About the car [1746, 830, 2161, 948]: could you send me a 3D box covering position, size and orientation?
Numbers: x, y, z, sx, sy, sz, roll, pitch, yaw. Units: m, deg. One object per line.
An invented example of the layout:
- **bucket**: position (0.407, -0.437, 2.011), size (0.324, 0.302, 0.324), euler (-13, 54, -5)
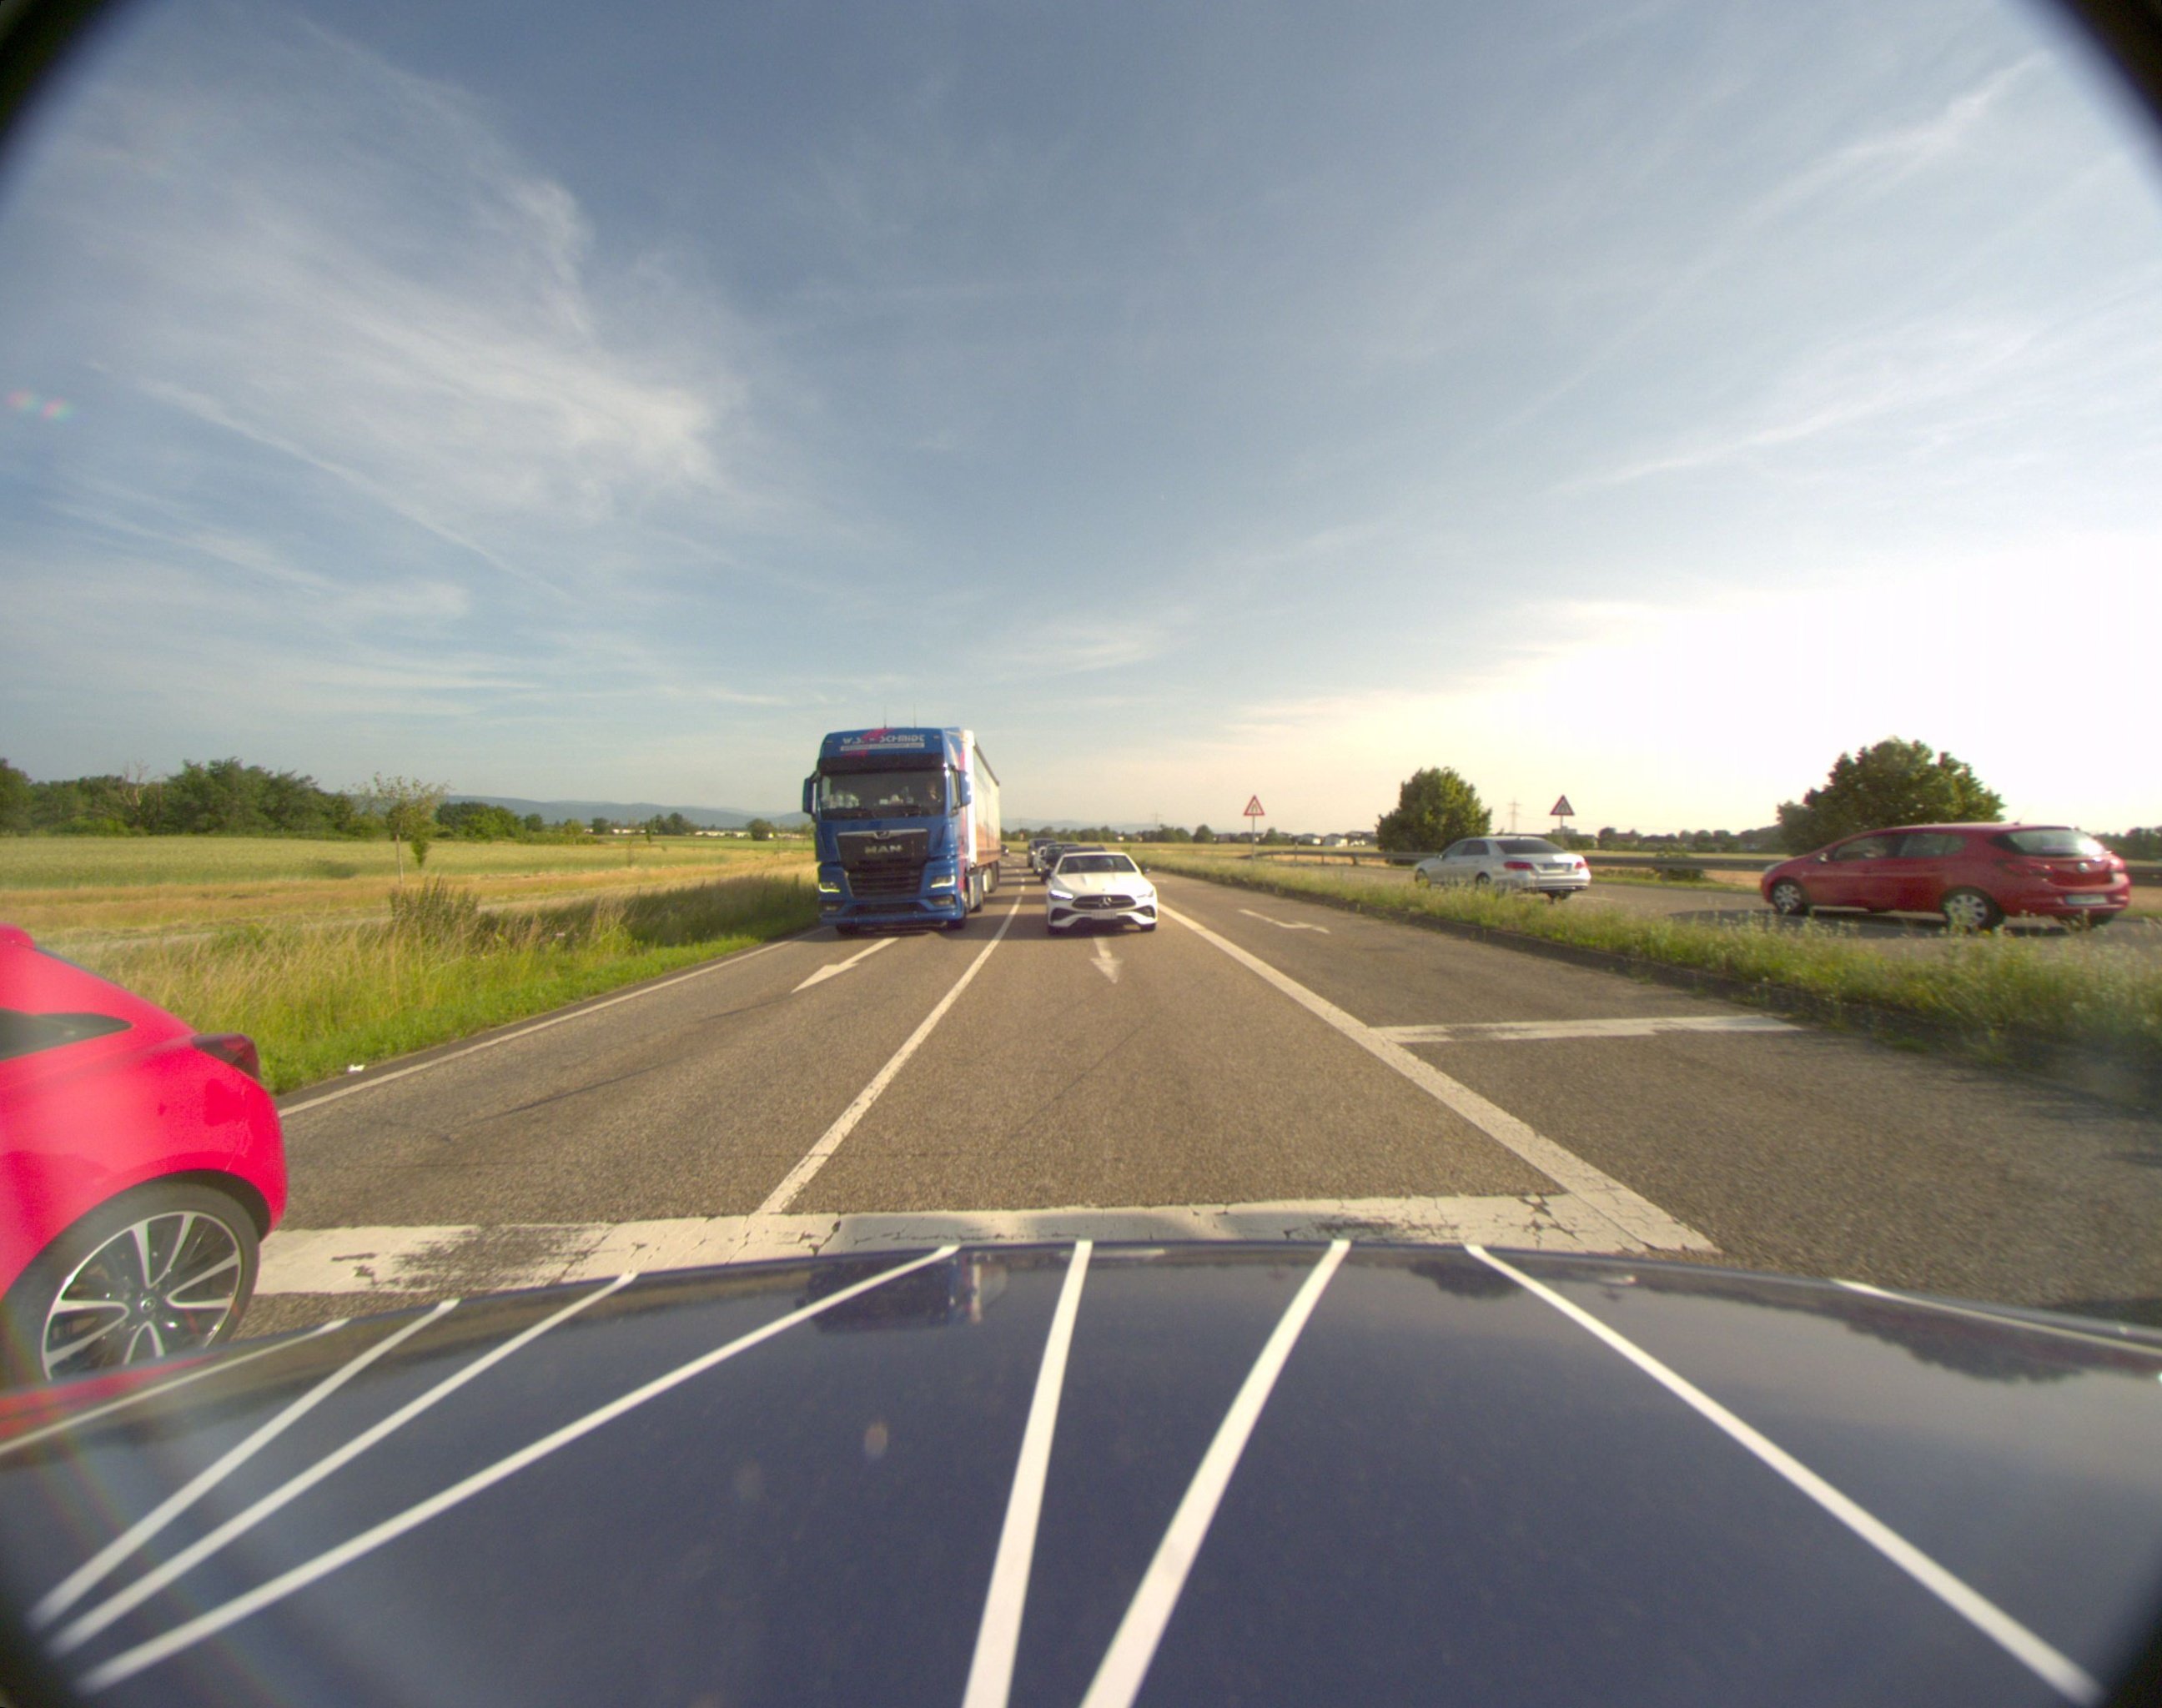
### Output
- **car**: position (12.738, 0.394, 11.562), size (1.664, 1.459, 4.021), euler (-1, 1, -1)

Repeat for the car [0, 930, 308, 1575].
- **car**: position (-3.378, 1.037, 0.531), size (1.666, 1.456, 3.953), euler (-1, 1, -2)

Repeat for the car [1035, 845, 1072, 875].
- **car**: position (-1.415, 0.255, 38.348), size (1.695, 1.406, 3.997), euler (-1, 1, -4)

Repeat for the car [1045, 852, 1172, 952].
- **car**: position (0.325, 0.703, 13.392), size (1.876, 1.390, 4.202), euler (-1, 1, -2)

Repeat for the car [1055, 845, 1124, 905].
- **car**: position (0.156, 0.531, 21.868), size (1.752, 1.521, 3.998), euler (-1, 1, -3)

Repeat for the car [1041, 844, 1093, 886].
- **car**: position (-0.610, 0.370, 30.269), size (1.831, 1.521, 3.997), euler (-1, 1, -4)

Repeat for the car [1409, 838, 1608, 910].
- **car**: position (9.682, 0.350, 17.754), size (1.932, 1.427, 4.699), euler (-1, 1, -2)

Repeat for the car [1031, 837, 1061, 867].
- **car**: position (-2.343, -0.164, 50.035), size (1.832, 1.831, 3.997), euler (-1, 1, -5)

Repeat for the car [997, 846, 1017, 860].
- **car**: position (-8.752, -0.158, 89.548), size (2.000, 1.525, 3.995), euler (-1, 1, -11)

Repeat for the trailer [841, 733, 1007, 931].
- **trailer**: position (-3.866, -0.597, 22.445), size (2.652, 3.956, 13.923), euler (-2, 1, -3)

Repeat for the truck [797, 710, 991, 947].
- **truck**: position (-3.485, -0.494, 15.765), size (2.652, 3.897, 5.947), euler (-2, 1, -3)
